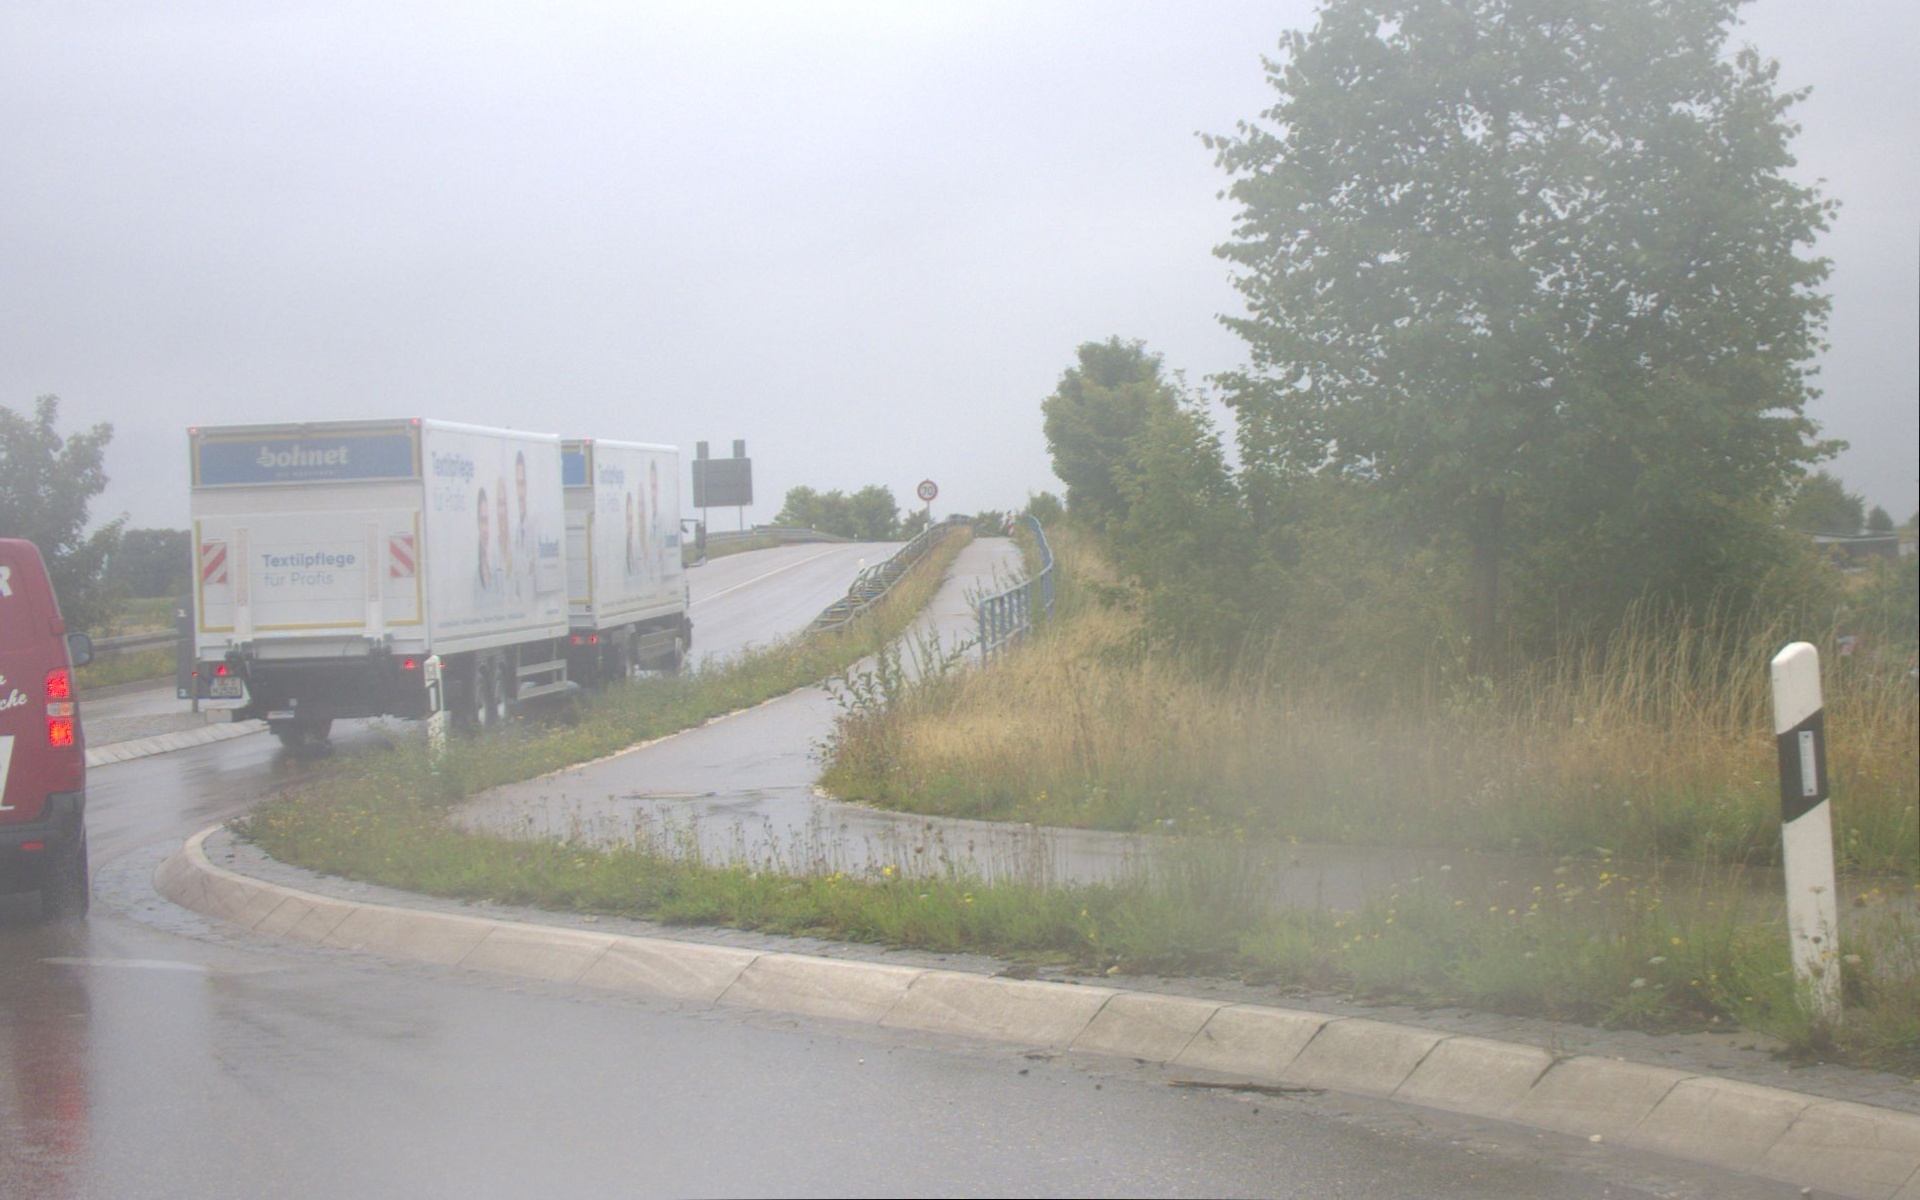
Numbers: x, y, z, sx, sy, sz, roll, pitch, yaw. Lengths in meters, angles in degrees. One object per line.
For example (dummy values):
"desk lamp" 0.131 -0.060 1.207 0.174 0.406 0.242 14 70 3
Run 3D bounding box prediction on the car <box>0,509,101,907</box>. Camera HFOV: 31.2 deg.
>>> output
"car" -5.918 0.522 18.391 1.993 1.864 4.980 -3 2 -20

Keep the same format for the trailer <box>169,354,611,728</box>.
"trailer" -6.468 -0.727 40.885 2.832 3.806 9.714 -2 1 4

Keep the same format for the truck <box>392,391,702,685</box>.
"truck" -5.790 -0.916 49.572 2.800 3.806 7.688 -2 1 5
